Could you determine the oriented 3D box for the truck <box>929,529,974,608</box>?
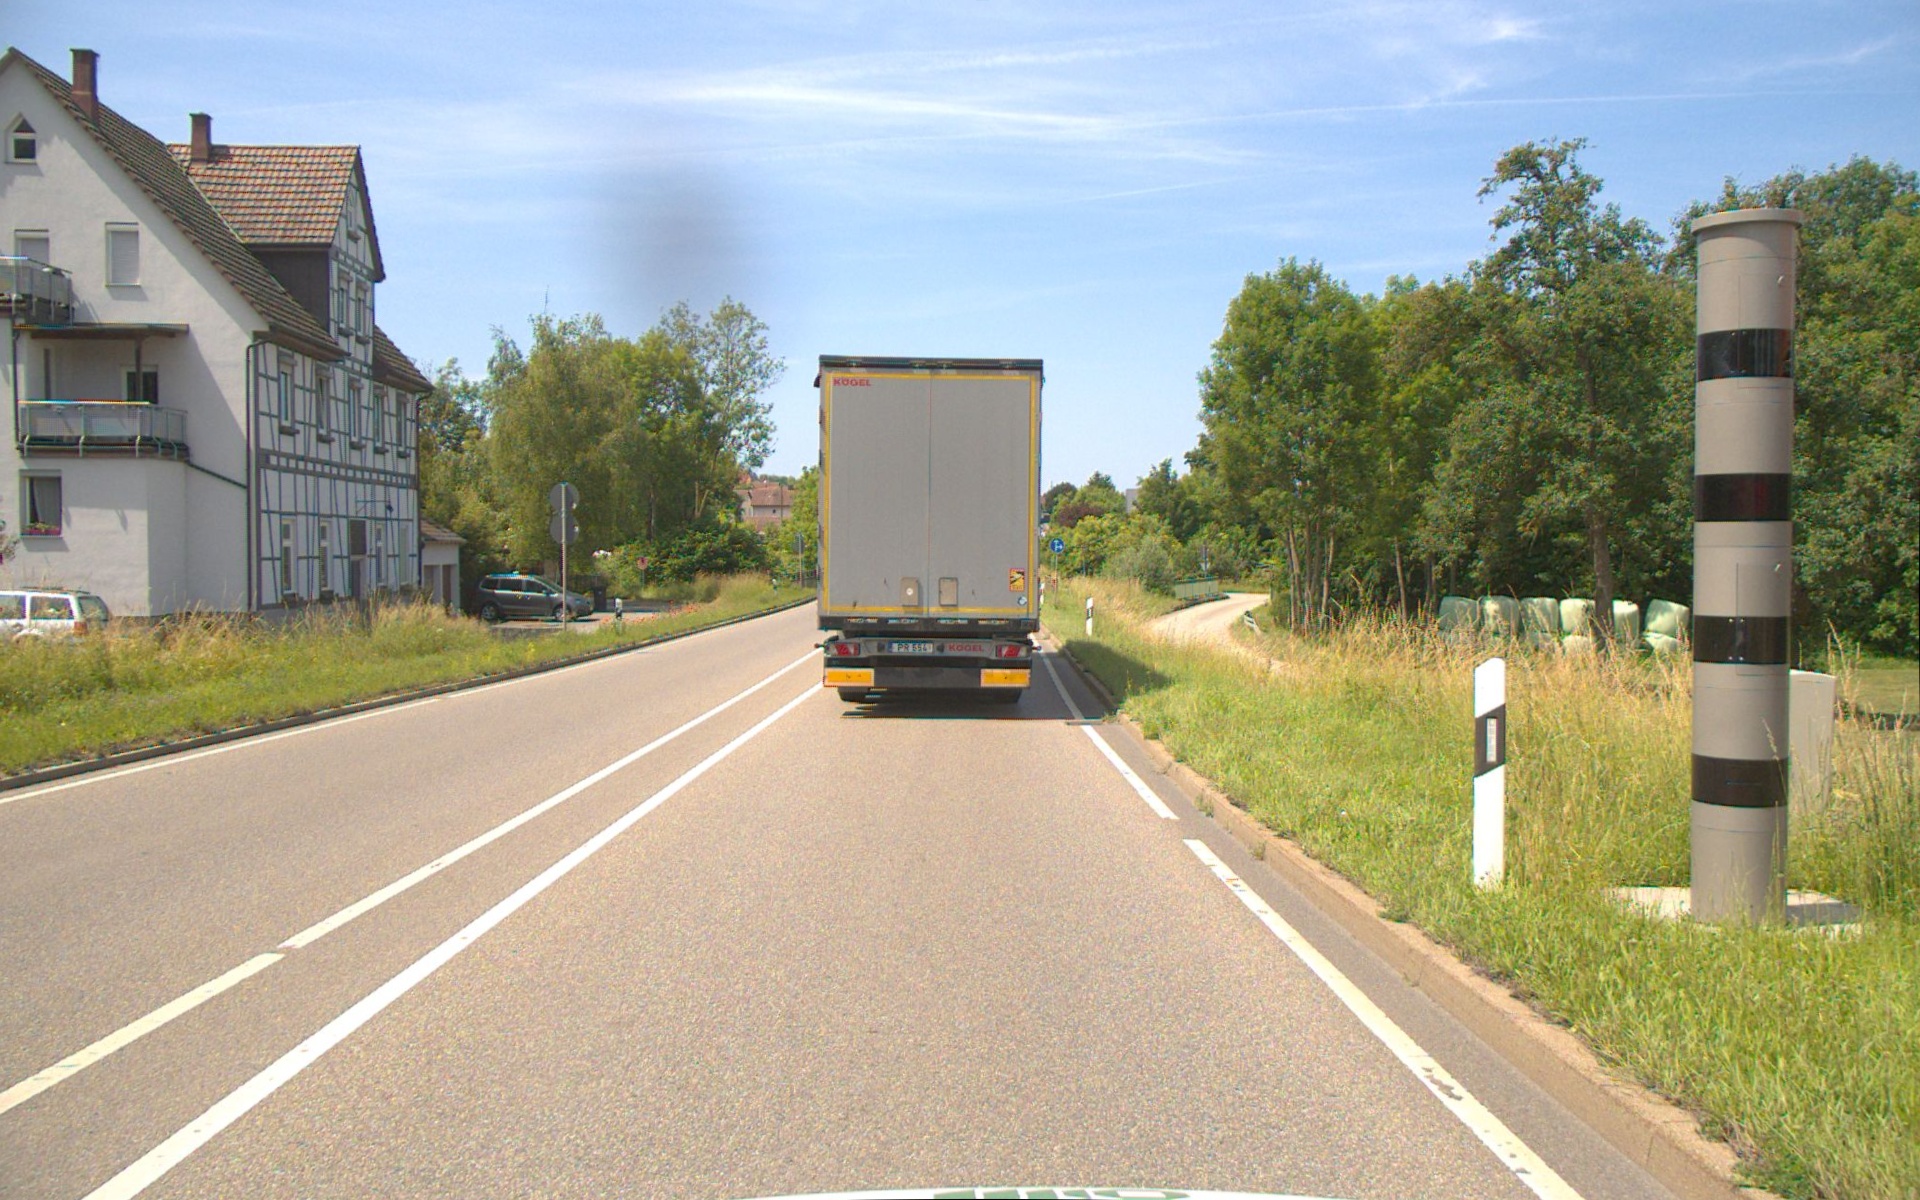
[{"bbox_3d":[-0.553,-1.916,105.119,2.592,4.681,10.815,2,0,-1],"label":"truck"}]

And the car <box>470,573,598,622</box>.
[{"bbox_3d":[-16.760,-0.113,65.199,4.570,1.750,1.861,1,3,-4],"label":"car"}]

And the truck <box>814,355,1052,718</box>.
[{"bbox_3d":[-0.311,-0.770,22.725,2.593,3.985,8.825,1,1,0],"label":"truck"}]

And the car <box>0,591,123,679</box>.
[{"bbox_3d":[-17.220,0.605,29.900,3.311,1.491,1.609,1,1,-6],"label":"car"}]
